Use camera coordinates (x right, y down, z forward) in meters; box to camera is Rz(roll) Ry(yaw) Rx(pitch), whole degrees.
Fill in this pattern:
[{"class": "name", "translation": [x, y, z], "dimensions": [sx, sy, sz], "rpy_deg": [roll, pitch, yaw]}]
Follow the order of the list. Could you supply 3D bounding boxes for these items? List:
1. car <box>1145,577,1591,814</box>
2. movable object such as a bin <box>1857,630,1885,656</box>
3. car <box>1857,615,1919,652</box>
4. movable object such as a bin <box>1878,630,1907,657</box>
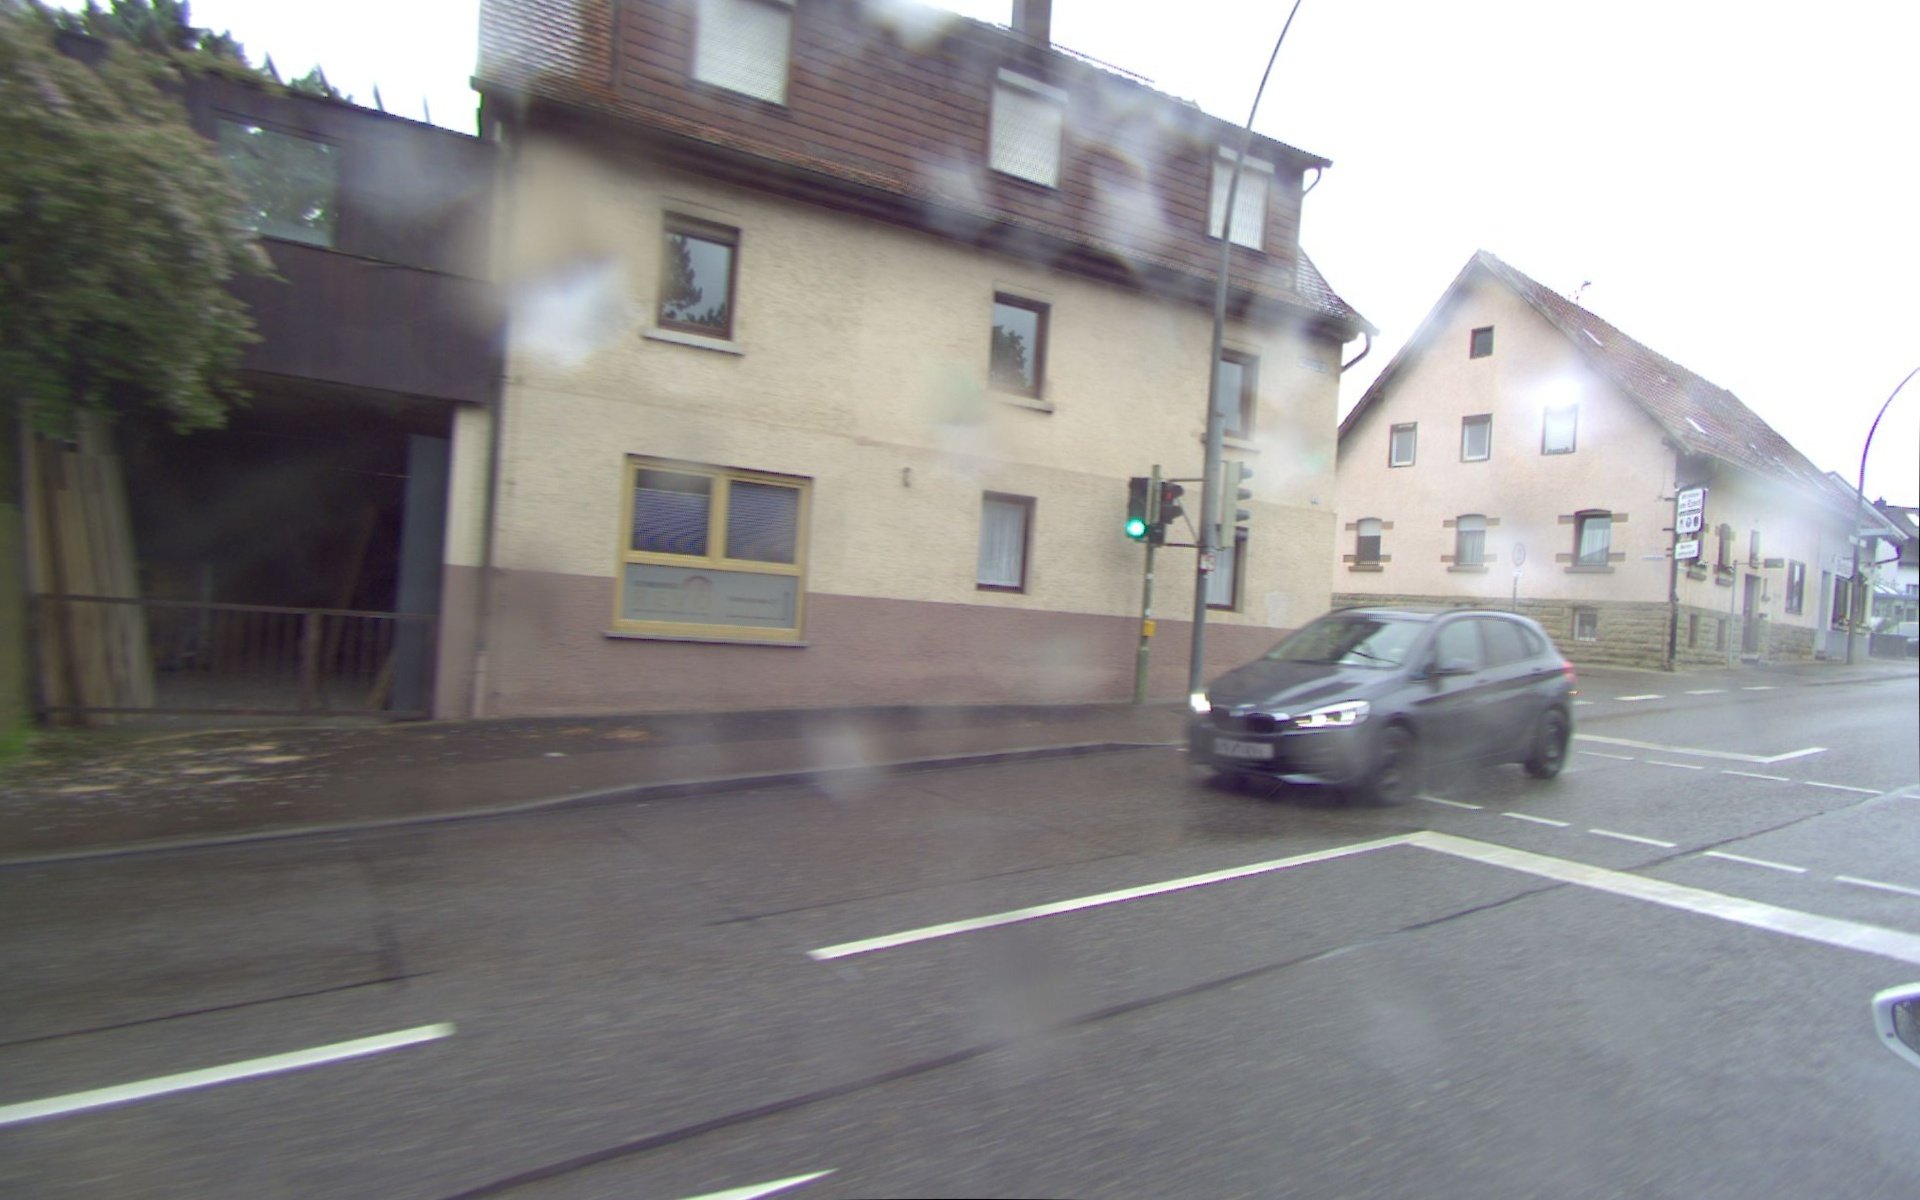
[{"class": "car", "translation": [3.844, 0.733, 9.285], "dimensions": [3.960, 1.728, 1.981], "rpy_deg": [1, 0, -35]}, {"class": "movable object such as a bin", "translation": [37.220, 1.746, 41.045], "dimensions": [0.596, 1.046, 0.636], "rpy_deg": [2, -1, -23]}, {"class": "car", "translation": [42.035, 1.482, 44.412], "dimensions": [3.768, 1.461, 1.899], "rpy_deg": [2, 2, -19]}, {"class": "movable object such as a bin", "translation": [37.485, 1.746, 40.385], "dimensions": [0.664, 1.046, 0.636], "rpy_deg": [2, -1, -23]}]
